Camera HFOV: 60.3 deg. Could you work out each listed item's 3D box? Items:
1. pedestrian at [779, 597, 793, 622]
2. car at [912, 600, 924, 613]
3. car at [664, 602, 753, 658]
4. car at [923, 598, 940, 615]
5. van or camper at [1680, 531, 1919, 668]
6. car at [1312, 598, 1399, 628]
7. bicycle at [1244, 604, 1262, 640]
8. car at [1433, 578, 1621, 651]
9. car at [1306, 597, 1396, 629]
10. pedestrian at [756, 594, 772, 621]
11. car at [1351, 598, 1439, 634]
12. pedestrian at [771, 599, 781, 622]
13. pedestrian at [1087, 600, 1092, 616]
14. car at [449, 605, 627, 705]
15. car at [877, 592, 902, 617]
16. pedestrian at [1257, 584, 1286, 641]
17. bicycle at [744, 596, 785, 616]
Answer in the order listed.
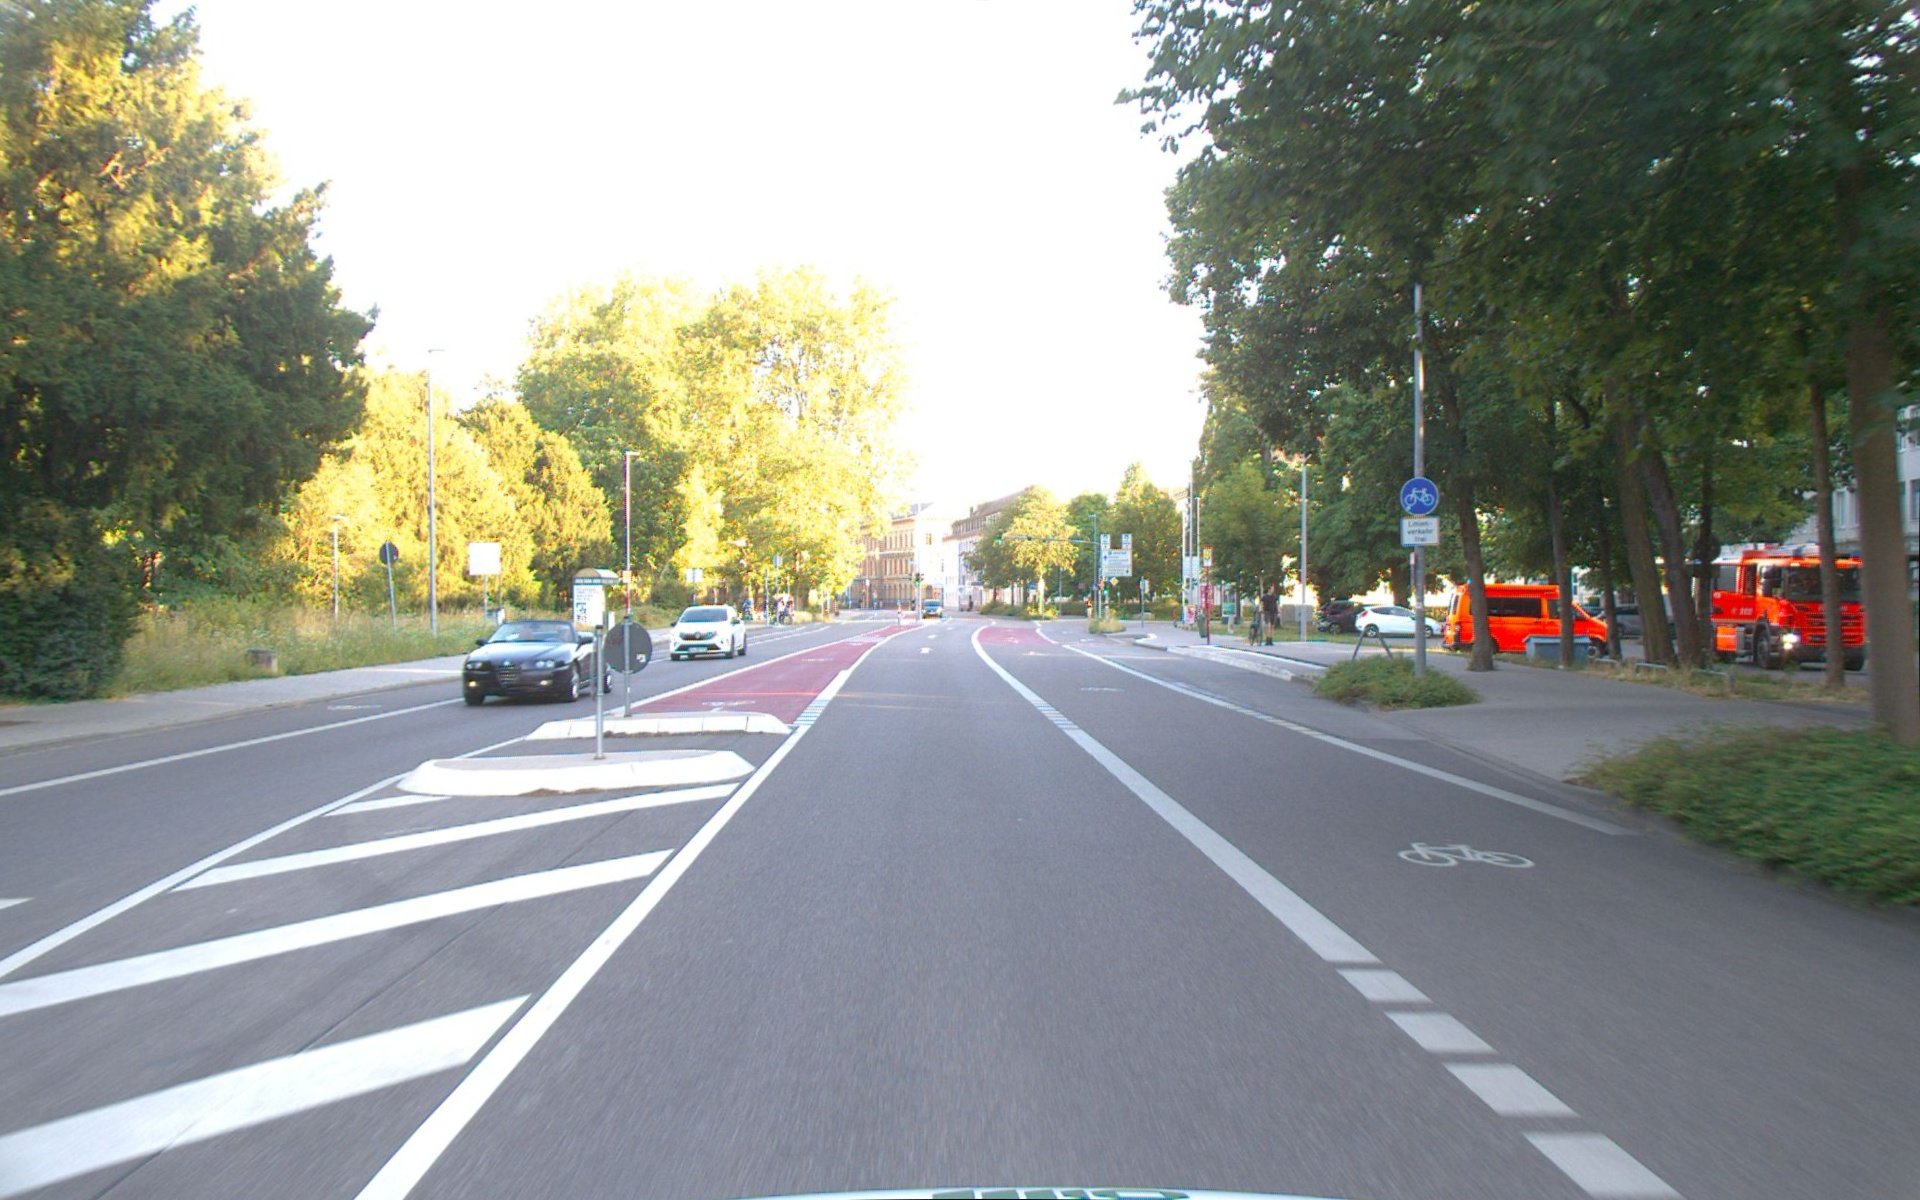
[{"bbox_3d":[-11.382,0.619,108.180,0.774,1.608,0.746,1,0,8],"label":"pedestrian"},{"bbox_3d":[-5.124,0.782,202.969,1.462,1.512,3.490,0,0,-1],"label":"car"},{"bbox_3d":[-6.961,0.792,46.099,1.760,1.478,4.127,0,0,1],"label":"car"},{"bbox_3d":[-2.501,0.599,147.217,1.462,1.512,3.490,0,0,-1],"label":"car"},{"bbox_3d":[22.426,-0.035,44.632,3.364,3.255,8.238,2,0,8],"label":"van or camper"},{"bbox_3d":[21.290,0.697,89.144,4.365,1.618,1.716,0,0,6],"label":"car"},{"bbox_3d":[9.145,0.676,51.661,0.293,1.119,1.521,0,0,1],"label":"bicycle"},{"bbox_3d":[16.279,0.410,47.656,4.806,2.024,1.923,0,0,6],"label":"car"},{"bbox_3d":[20.283,0.651,85.834,4.365,1.618,1.716,0,0,6],"label":"car"},{"bbox_3d":[-11.966,0.464,101.211,0.774,1.608,0.746,1,0,8],"label":"pedestrian"},{"bbox_3d":[20.059,0.733,76.374,3.693,1.618,1.716,0,0,6],"label":"car"},{"bbox_3d":[-11.769,0.640,105.815,0.569,1.455,0.559,1,0,-10],"label":"pedestrian"},{"bbox_3d":[10.636,0.670,136.200,0.382,1.260,0.404,0,0,-1],"label":"pedestrian"},{"bbox_3d":[-6.769,0.834,26.949,1.760,1.478,4.127,0,0,1],"label":"car"},{"bbox_3d":[-4.336,0.291,102.206,1.462,1.512,3.490,0,0,-1],"label":"car"},{"bbox_3d":[9.699,0.383,51.570,0.754,1.770,0.731,0,0,-1],"label":"pedestrian"},{"bbox_3d":[-11.960,0.366,101.185,2.410,1.216,0.757,0,0,8],"label":"bicycle"}]
